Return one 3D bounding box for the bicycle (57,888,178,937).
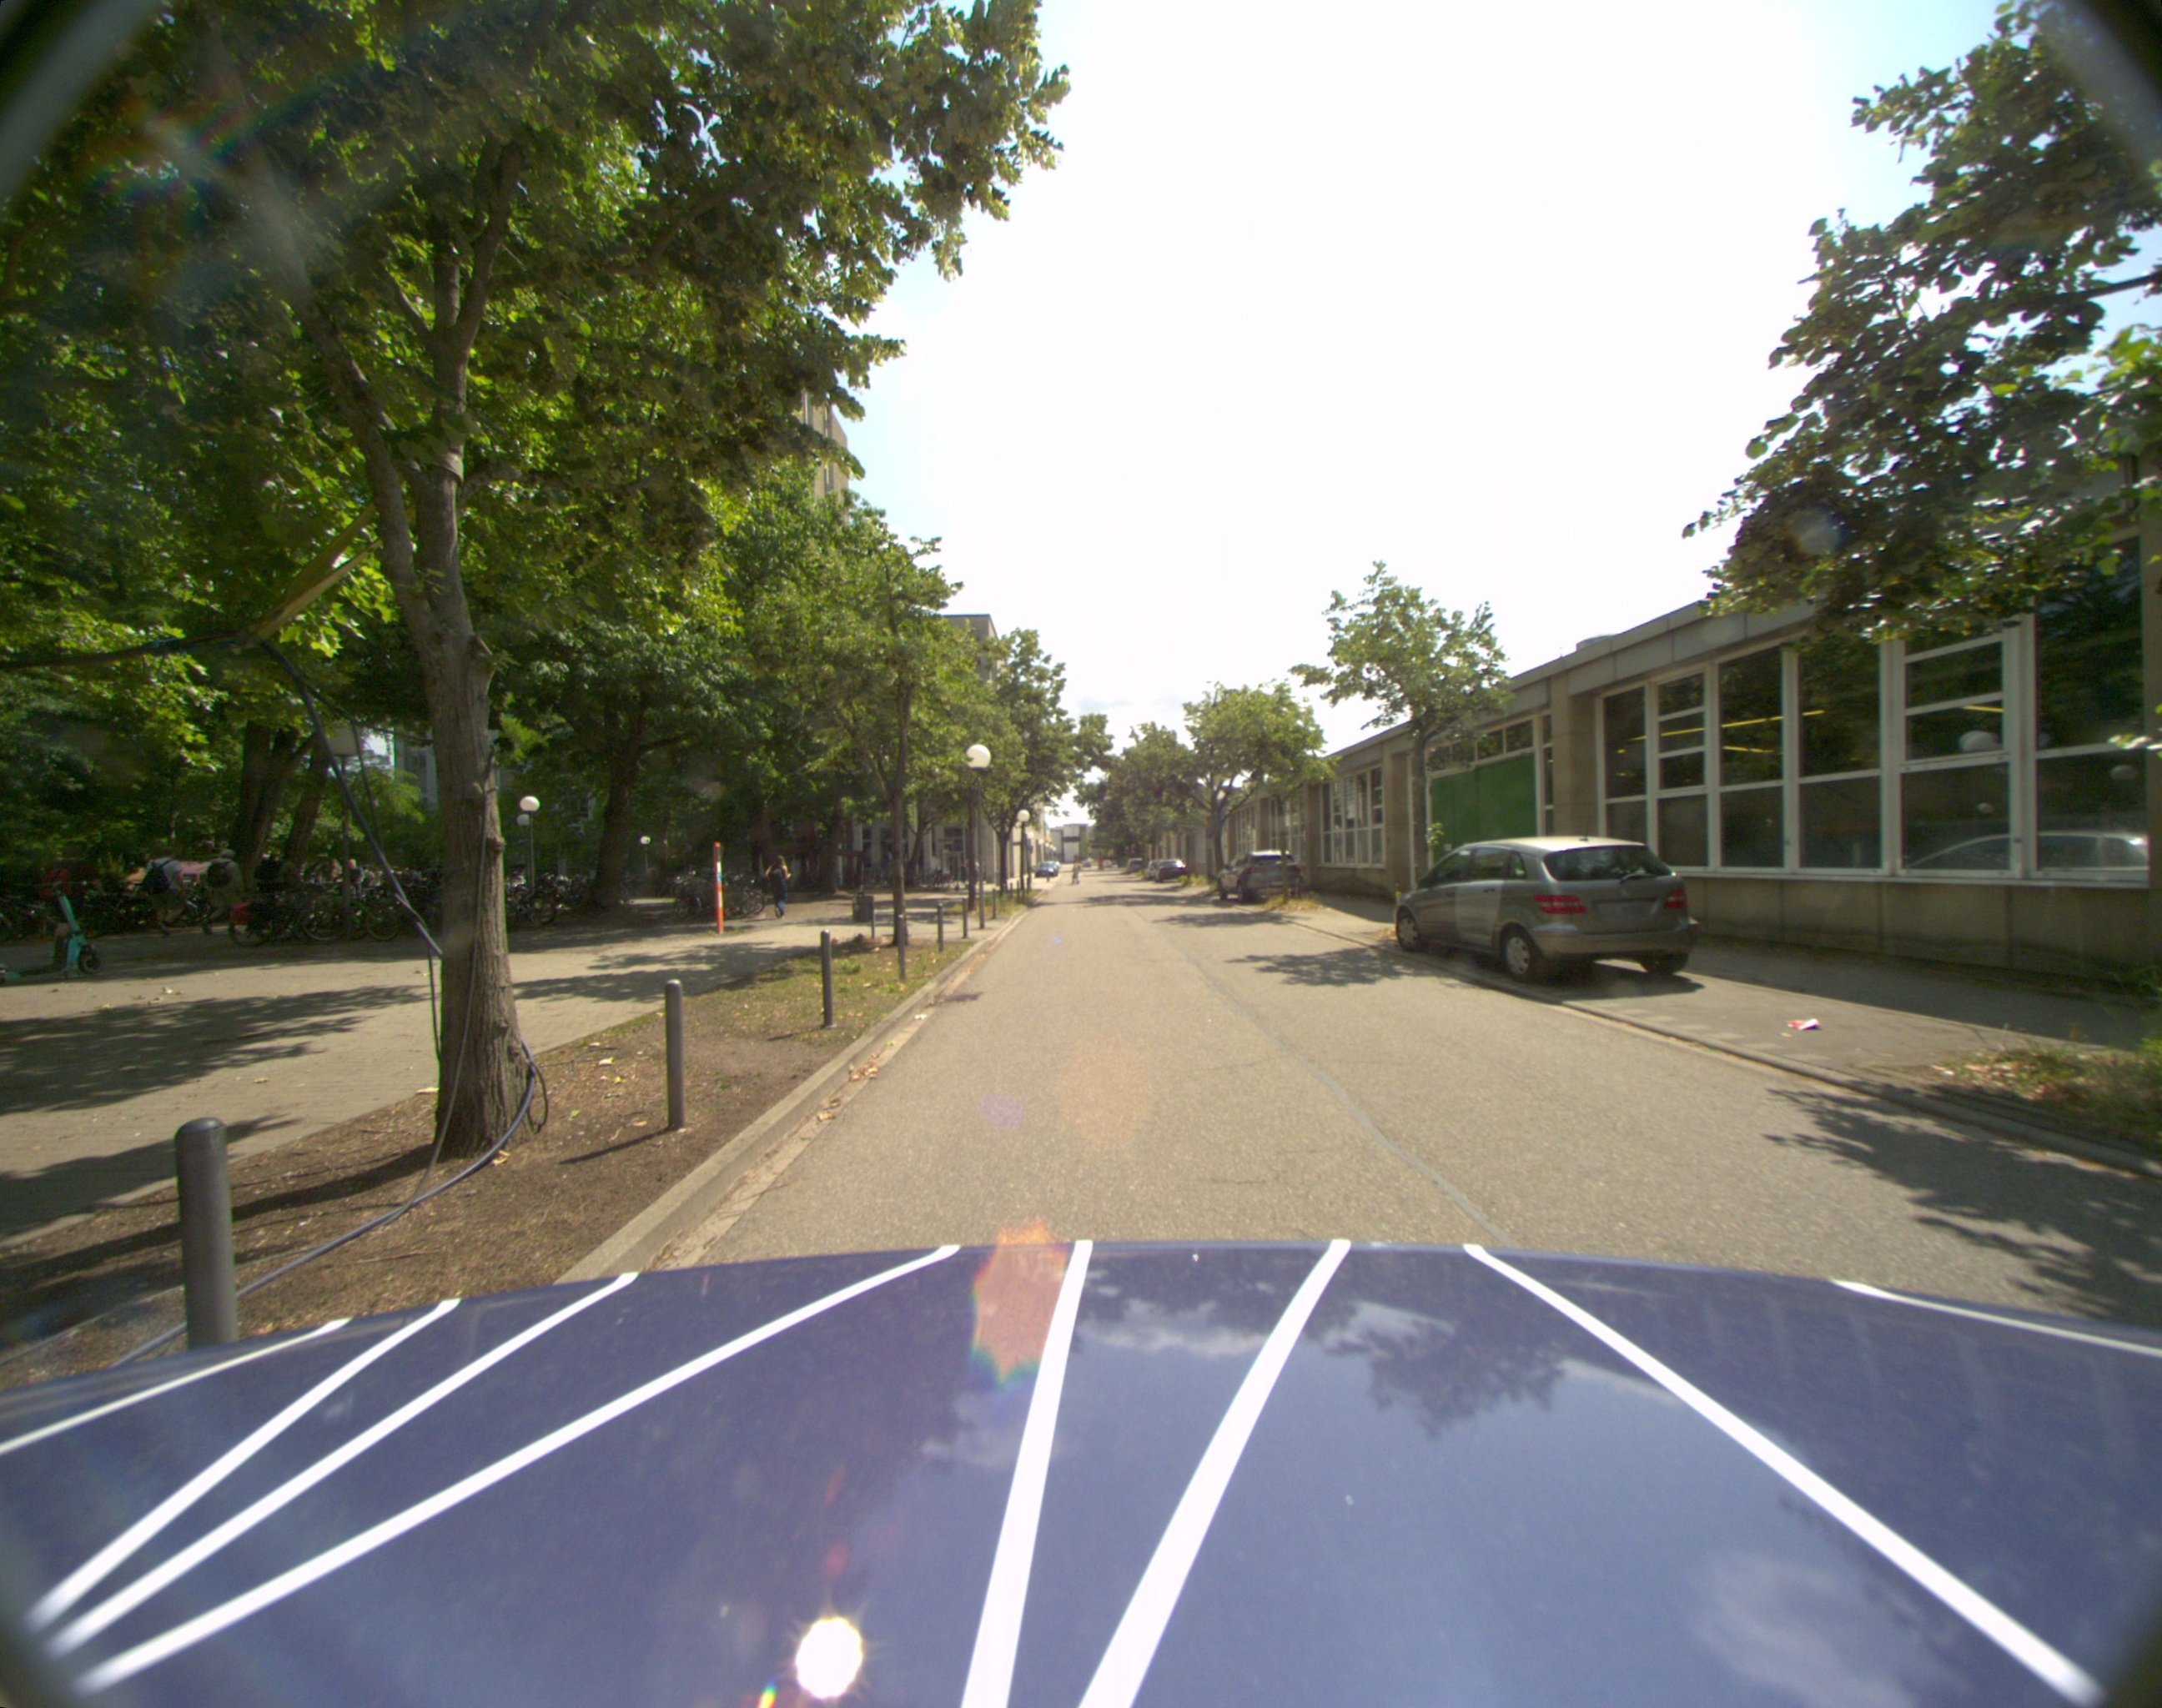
[{"bbox_3d":[-21.979,1.325,17.362,1.755,1.033,0.347,0,0,-21],"label":"bicycle"}]

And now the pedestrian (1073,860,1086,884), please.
[{"bbox_3d":[-0.136,1.205,51.115,0.797,1.532,0.664,-1,0,-4],"label":"pedestrian"}]

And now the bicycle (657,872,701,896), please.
[{"bbox_3d":[-19.939,1.475,37.709,1.849,1.163,0.412,-1,0,-39],"label":"bicycle"}]

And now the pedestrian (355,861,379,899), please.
[{"bbox_3d":[-34.084,1.245,36.271,0.719,1.764,0.746,-1,-1,38],"label":"pedestrian"}]

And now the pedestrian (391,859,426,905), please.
[{"bbox_3d":[-26.583,1.108,30.063,0.745,1.764,0.720,-1,-1,-8],"label":"pedestrian"}]

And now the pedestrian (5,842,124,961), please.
[{"bbox_3d":[-16.379,0.746,12.264,0.767,1.844,0.824,-1,0,0],"label":"pedestrian"}]

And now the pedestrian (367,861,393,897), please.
[{"bbox_3d":[-35.181,1.235,38.122,0.719,1.764,0.746,-1,-1,25],"label":"pedestrian"}]

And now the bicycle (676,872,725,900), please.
[{"bbox_3d":[-16.451,1.382,32.890,1.849,1.163,0.344,-1,0,-37],"label":"bicycle"}]

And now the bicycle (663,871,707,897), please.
[{"bbox_3d":[-19.080,1.434,36.635,1.849,1.163,0.412,-1,0,-39],"label":"bicycle"}]

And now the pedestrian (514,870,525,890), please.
[{"bbox_3d":[-35.091,1.616,47.488,0.402,1.205,0.387,-1,0,8],"label":"pedestrian"}]

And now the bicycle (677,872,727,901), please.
[{"bbox_3d":[-16.251,1.382,32.618,1.849,1.163,0.344,-1,0,-37],"label":"bicycle"}]

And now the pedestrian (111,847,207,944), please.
[{"bbox_3d":[-19.228,0.840,15.882,0.836,1.937,1.077,0,0,-20],"label":"pedestrian"}]

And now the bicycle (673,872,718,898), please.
[{"bbox_3d":[-18.047,1.427,35.601,1.849,1.163,0.352,-1,0,-37],"label":"bicycle"}]

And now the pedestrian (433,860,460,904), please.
[{"bbox_3d":[-25.983,1.142,31.119,0.746,1.764,0.719,-1,-1,-31],"label":"pedestrian"}]

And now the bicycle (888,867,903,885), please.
[{"bbox_3d":[-11.210,1.348,45.931,0.460,1.079,1.474,0,-2,1],"label":"bicycle"}]

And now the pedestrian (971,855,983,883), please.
[{"bbox_3d":[-7.266,1.028,53.001,0.687,1.880,0.686,-2,1,-3],"label":"pedestrian"}]

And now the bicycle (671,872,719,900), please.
[{"bbox_3d":[-16.953,1.399,33.419,1.849,1.163,0.352,-1,0,-37],"label":"bicycle"}]

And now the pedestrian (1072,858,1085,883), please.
[{"bbox_3d":[-0.191,1.113,51.836,0.797,1.718,0.601,-1,0,-4],"label":"pedestrian"}]

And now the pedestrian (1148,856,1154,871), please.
[{"bbox_3d":[7.725,1.060,83.657,0.605,1.571,0.551,1,-1,-2],"label":"pedestrian"}]

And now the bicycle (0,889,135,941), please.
[{"bbox_3d":[-21.968,1.306,16.456,1.834,1.033,0.478,0,0,-21],"label":"bicycle"}]

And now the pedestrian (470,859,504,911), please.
[{"bbox_3d":[-20.537,1.068,26.259,0.743,1.764,0.722,-1,-1,36],"label":"pedestrian"}]

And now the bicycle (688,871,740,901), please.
[{"bbox_3d":[-14.796,1.284,30.684,1.848,1.163,0.344,-1,0,-34],"label":"bicycle"}]

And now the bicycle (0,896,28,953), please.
[{"bbox_3d":[-20.882,1.308,13.914,1.961,1.033,0.434,0,0,-19],"label":"bicycle"}]

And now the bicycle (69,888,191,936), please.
[{"bbox_3d":[-22.110,1.328,17.697,1.755,1.033,0.478,0,0,-21],"label":"bicycle"}]

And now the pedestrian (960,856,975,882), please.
[{"bbox_3d":[-8.062,1.055,54.047,0.811,1.786,0.618,-2,1,-44],"label":"pedestrian"}]

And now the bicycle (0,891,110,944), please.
[{"bbox_3d":[-21.511,1.304,15.703,1.786,1.033,0.478,0,0,-21],"label":"bicycle"}]

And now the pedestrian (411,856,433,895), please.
[{"bbox_3d":[-30.509,0.974,35.169,0.746,1.764,0.719,-1,-1,-40],"label":"pedestrian"}]

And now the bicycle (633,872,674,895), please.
[{"bbox_3d":[-22.543,1.534,40.098,1.849,1.163,0.345,-1,0,-45],"label":"bicycle"}]

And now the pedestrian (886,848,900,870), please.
[{"bbox_3d":[-15.643,0.413,63.225,0.618,1.786,0.811,-1,1,32],"label":"pedestrian"}]

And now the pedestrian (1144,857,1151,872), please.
[{"bbox_3d":[7.296,1.124,82.970,0.604,1.571,0.552,0,-1,30],"label":"pedestrian"}]

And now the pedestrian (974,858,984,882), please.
[{"bbox_3d":[-7.284,1.137,54.158,0.614,1.719,0.542,-1,1,1],"label":"pedestrian"}]

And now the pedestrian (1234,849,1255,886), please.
[{"bbox_3d":[7.950,0.649,37.011,0.790,1.776,0.670,-3,-1,3],"label":"pedestrian"}]

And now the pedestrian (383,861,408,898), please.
[{"bbox_3d":[-33.506,1.243,37.135,0.719,1.764,0.746,-1,-1,38],"label":"pedestrian"}]

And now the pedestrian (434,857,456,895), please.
[{"bbox_3d":[-29.881,1.011,35.698,0.746,1.764,0.719,-1,-1,-40],"label":"pedestrian"}]

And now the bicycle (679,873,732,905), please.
[{"bbox_3d":[-14.423,1.320,29.213,1.796,1.163,0.401,-1,0,-34],"label":"bicycle"}]

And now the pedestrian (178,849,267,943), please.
[{"bbox_3d":[-18.301,0.871,16.223,0.836,1.937,1.077,0,0,-20],"label":"pedestrian"}]

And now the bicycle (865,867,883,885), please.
[{"bbox_3d":[-12.464,1.340,45.767,0.481,1.079,1.697,0,-2,5],"label":"bicycle"}]

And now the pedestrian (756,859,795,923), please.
[{"bbox_3d":[-7.685,0.913,19.144,0.570,1.563,0.927,0,2,1],"label":"pedestrian"}]

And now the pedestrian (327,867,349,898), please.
[{"bbox_3d":[-35.644,1.363,36.444,0.693,1.502,0.513,2,-1,-43],"label":"pedestrian"}]

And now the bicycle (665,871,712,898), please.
[{"bbox_3d":[-17.867,1.365,34.636,1.849,1.163,0.352,-1,0,-37],"label":"bicycle"}]

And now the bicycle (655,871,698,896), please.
[{"bbox_3d":[-20.254,1.462,38.092,1.849,1.163,0.412,-1,0,-39],"label":"bicycle"}]

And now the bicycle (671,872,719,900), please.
[{"bbox_3d":[-17.143,1.400,33.743,1.849,1.163,0.352,-1,0,-37],"label":"bicycle"}]

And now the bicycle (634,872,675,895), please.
[{"bbox_3d":[-22.690,1.551,40.443,1.849,1.163,0.345,-1,0,-45],"label":"bicycle"}]

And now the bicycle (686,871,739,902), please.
[{"bbox_3d":[-14.699,1.297,30.318,1.848,1.163,0.401,-1,0,-34],"label":"bicycle"}]

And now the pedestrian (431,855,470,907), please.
[{"bbox_3d":[-21.955,0.931,26.466,0.745,1.764,0.720,-1,-1,-8],"label":"pedestrian"}]

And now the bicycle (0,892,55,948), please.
[{"bbox_3d":[-21.253,1.279,14.553,1.961,1.033,0.478,0,0,-19],"label":"bicycle"}]

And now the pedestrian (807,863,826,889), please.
[{"bbox_3d":[-17.823,1.471,51.164,0.935,1.730,0.750,-1,1,35],"label":"pedestrian"}]

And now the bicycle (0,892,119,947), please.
[{"bbox_3d":[-20.647,1.297,15.176,1.786,1.033,0.434,0,0,-21],"label":"bicycle"}]

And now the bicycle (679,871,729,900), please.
[{"bbox_3d":[-16.048,1.316,32.339,1.849,1.163,0.344,-1,0,-37],"label":"bicycle"}]

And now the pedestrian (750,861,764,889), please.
[{"bbox_3d":[-19.648,1.273,46.137,0.428,1.693,0.944,-3,0,-4],"label":"pedestrian"}]

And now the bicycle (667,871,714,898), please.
[{"bbox_3d":[-17.653,1.365,34.351,1.849,1.163,0.352,-1,0,-37],"label":"bicycle"}]

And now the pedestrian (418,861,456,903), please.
[{"bbox_3d":[-27.645,1.183,32.625,0.964,1.764,0.971,-1,-1,-22],"label":"pedestrian"}]

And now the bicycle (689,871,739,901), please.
[{"bbox_3d":[-15.189,1.313,31.468,0.344,1.163,1.849,-1,0,43],"label":"bicycle"}]

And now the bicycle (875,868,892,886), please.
[{"bbox_3d":[-11.971,1.376,46.053,0.481,1.079,1.516,0,-2,5],"label":"bicycle"}]
